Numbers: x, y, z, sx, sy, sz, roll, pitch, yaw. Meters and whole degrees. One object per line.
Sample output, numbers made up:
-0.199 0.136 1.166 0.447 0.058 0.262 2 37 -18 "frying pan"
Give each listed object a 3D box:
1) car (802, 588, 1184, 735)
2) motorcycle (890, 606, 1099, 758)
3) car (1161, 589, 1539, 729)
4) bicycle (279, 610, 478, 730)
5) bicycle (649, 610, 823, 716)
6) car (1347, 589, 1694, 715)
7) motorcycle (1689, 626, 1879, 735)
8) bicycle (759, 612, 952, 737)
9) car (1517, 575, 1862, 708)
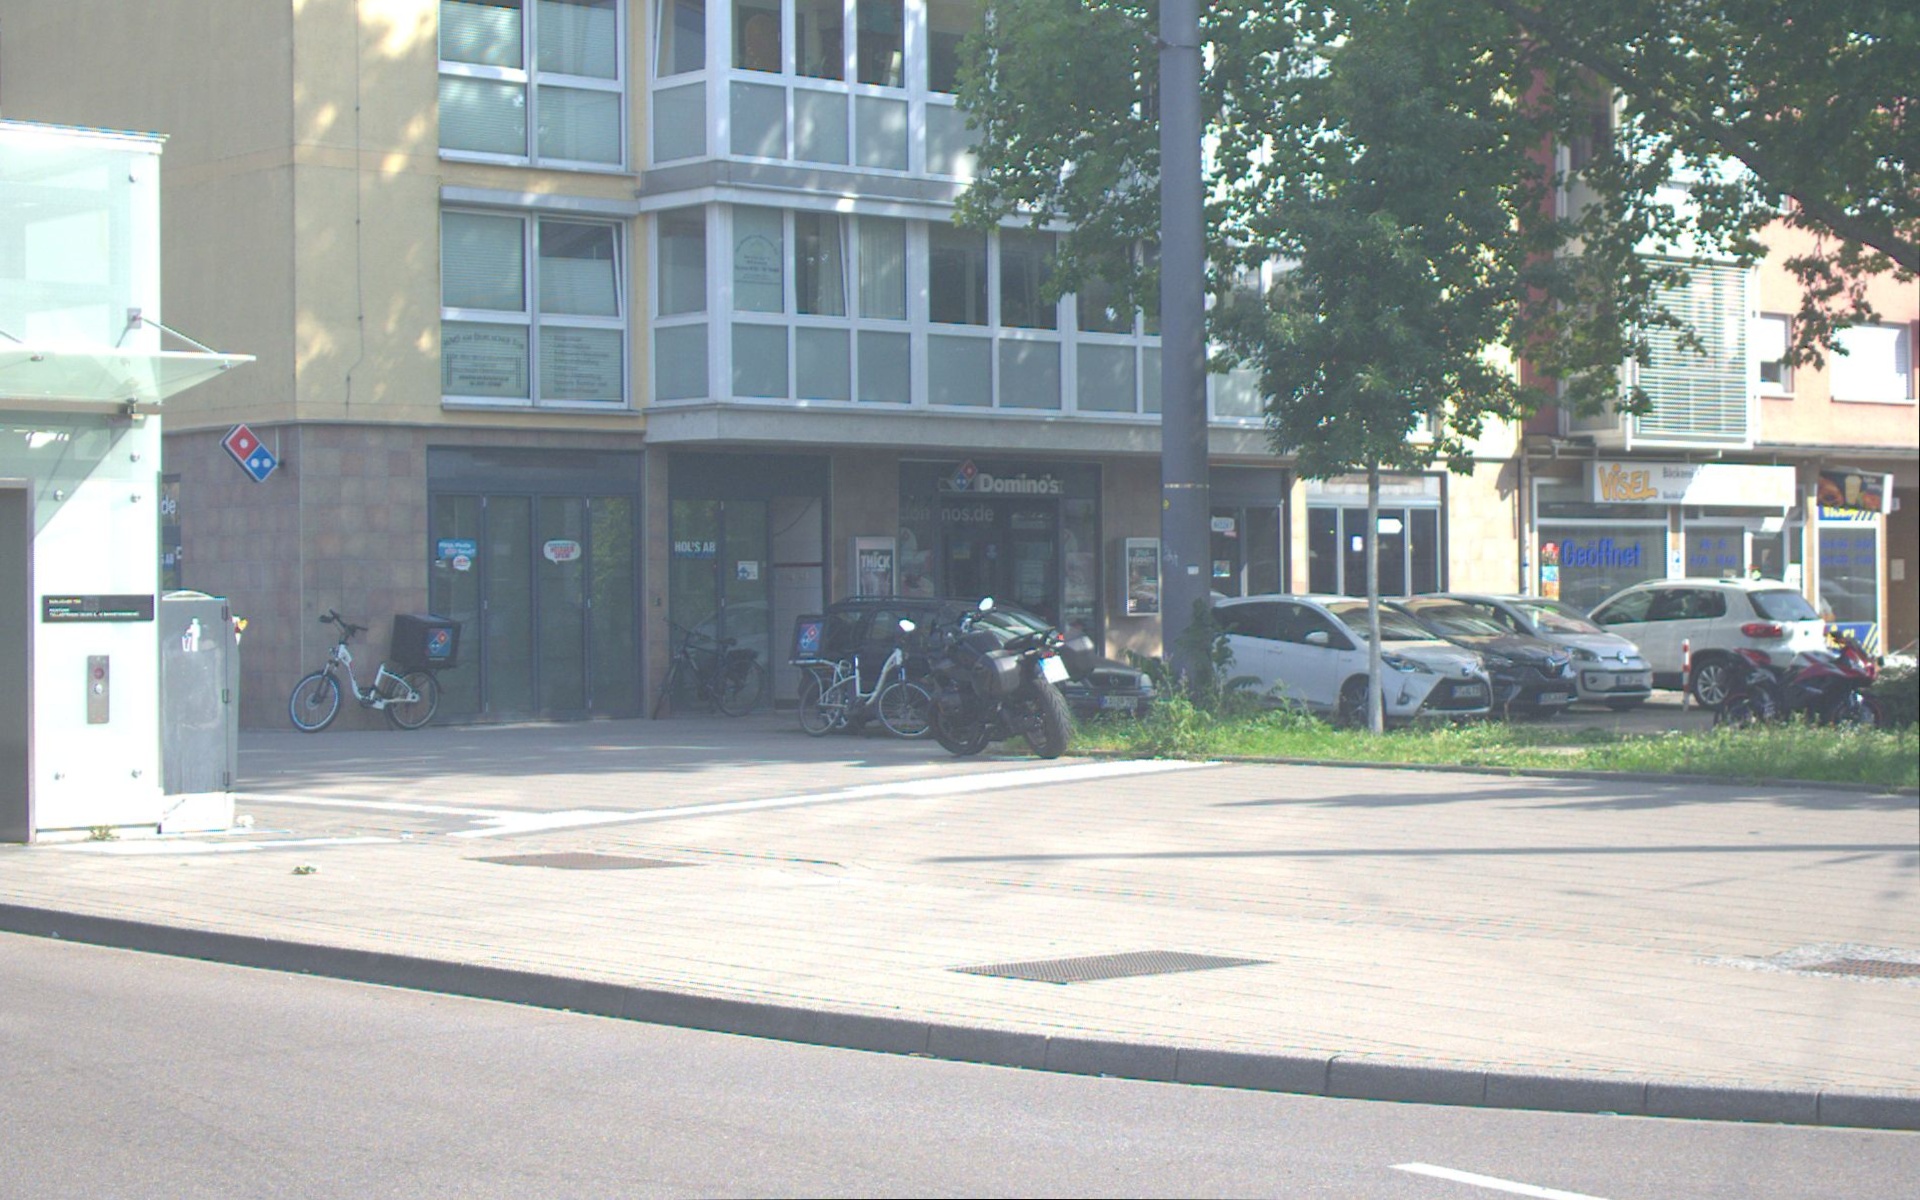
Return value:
0.286 0.611 35.951 1.657 1.436 4.192 0 0 -40 "car"
0.246 0.621 27.185 0.703 1.143 2.301 0 0 -25 "motorcycle"
4.402 0.639 39.230 1.994 1.502 3.998 0 0 -40 "car"
-6.152 0.725 36.428 2.017 1.202 0.670 -1 0 -41 "bicycle"
-2.594 0.718 40.010 2.017 1.180 0.670 -1 0 -41 "bicycle"
7.047 0.629 43.520 1.994 1.502 3.998 0 0 -40 "car"
7.888 0.754 32.994 0.703 0.998 1.957 0 0 -25 "motorcycle"
-1.082 0.746 35.141 2.300 1.230 0.523 0 0 45 "bicycle"
9.442 0.518 44.713 1.994 1.639 3.998 0 0 -40 "car"
